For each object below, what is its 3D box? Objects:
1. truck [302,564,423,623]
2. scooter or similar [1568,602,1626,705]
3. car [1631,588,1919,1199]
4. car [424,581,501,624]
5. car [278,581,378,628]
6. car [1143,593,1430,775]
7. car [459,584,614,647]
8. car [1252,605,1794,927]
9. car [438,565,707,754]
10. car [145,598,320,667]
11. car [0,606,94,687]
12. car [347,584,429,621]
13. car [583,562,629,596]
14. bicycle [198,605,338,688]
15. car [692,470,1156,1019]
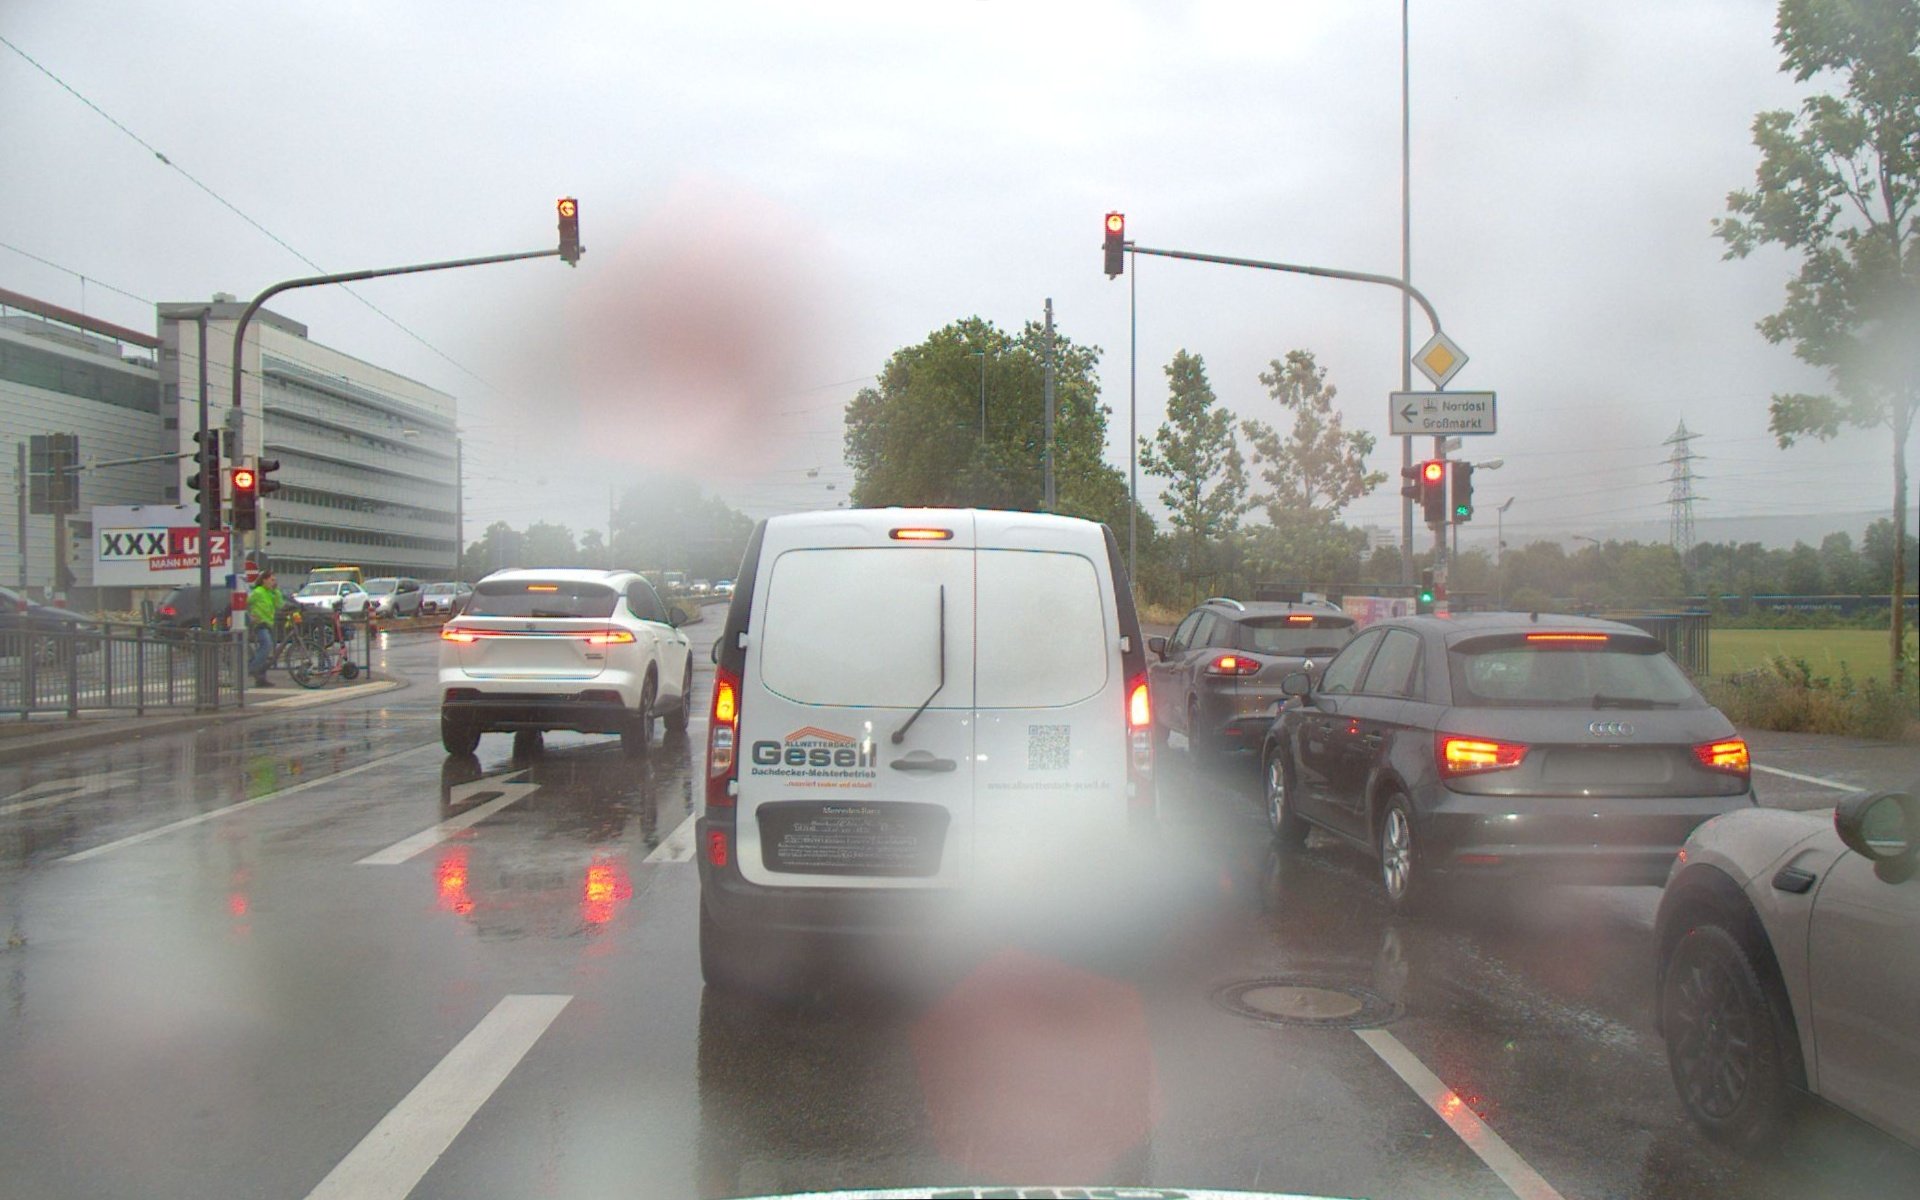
[{"bbox_3d":[-25.149,-0.241,69.991,2.303,2.319,7.632,1,0,0],"label":"truck"},{"bbox_3d":[7.557,0.617,19.649,0.240,1.178,1.186,1,0,1],"label":"scooter or similar"},{"bbox_3d":[2.932,0.758,3.215,1.679,1.534,3.622,1,0,-2],"label":"car"},{"bbox_3d":[-21.019,0.108,70.056,1.853,1.729,4.001,1,0,3],"label":"car"},{"bbox_3d":[-21.668,0.150,56.832,1.662,1.518,3.878,1,0,5],"label":"car"},{"bbox_3d":[2.915,0.688,15.569,1.822,1.453,3.806,1,1,-2],"label":"car"},{"bbox_3d":[-10.875,0.399,42.669,1.587,1.530,3.701,1,0,36],"label":"car"},{"bbox_3d":[2.758,0.726,8.955,1.596,1.368,3.622,1,0,-2],"label":"car"},{"bbox_3d":[-3.574,0.476,16.014,1.694,1.562,4.296,1,1,-2],"label":"car"},{"bbox_3d":[-16.051,0.718,36.534,3.319,1.447,1.449,1,0,-36],"label":"car"},{"bbox_3d":[-18.099,0.833,30.277,3.800,1.447,1.500,1,0,-22],"label":"car"},{"bbox_3d":[-21.691,0.106,62.837,1.554,1.359,3.832,1,-1,4],"label":"car"},{"bbox_3d":[-22.171,-1.303,103.739,1.952,2.049,4.000,1,0,1],"label":"car"},{"bbox_3d":[-9.739,0.651,23.299,1.716,1.052,0.414,4,-1,-3],"label":"bicycle"},{"bbox_3d":[-0.143,0.485,7.509,1.534,1.819,3.999,0,0,-1],"label":"car"}]
